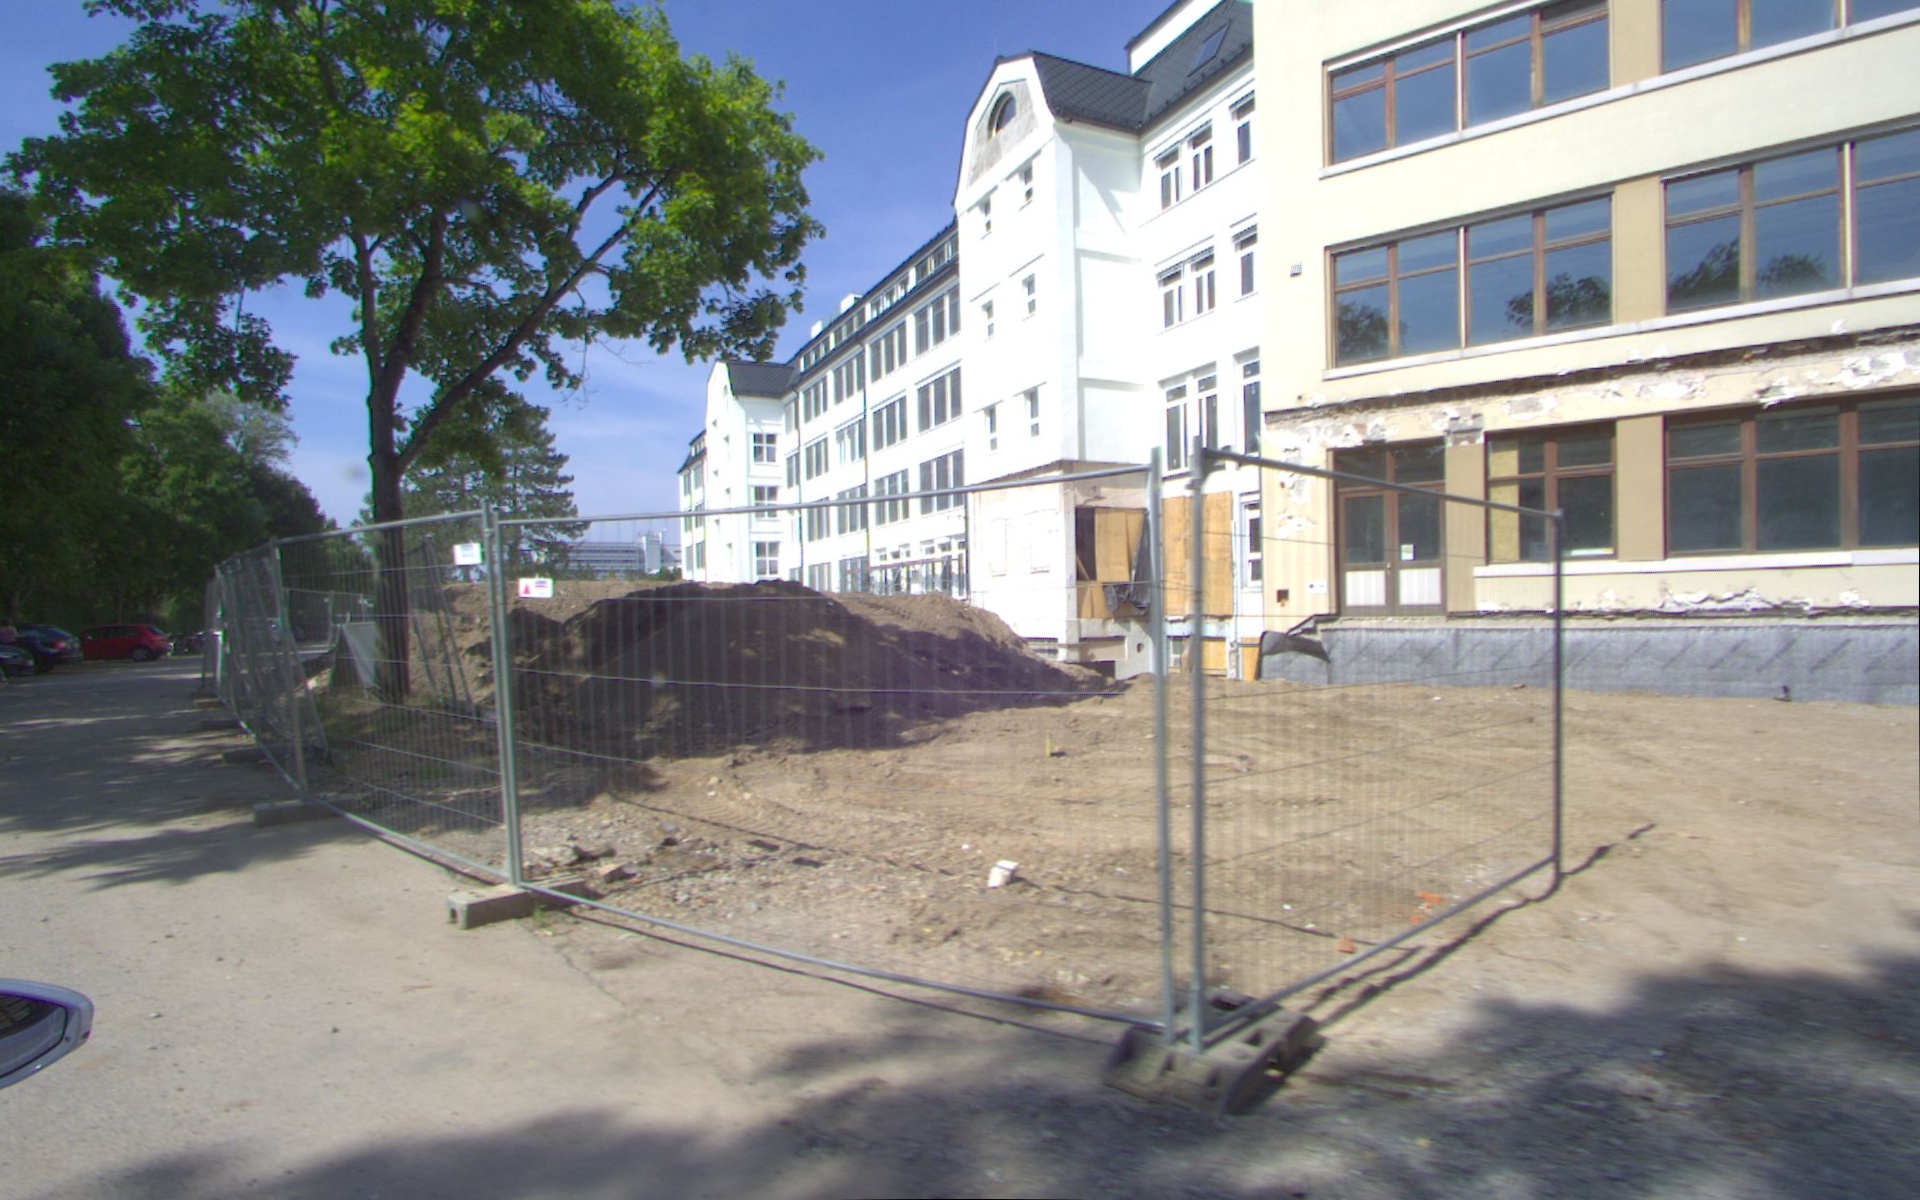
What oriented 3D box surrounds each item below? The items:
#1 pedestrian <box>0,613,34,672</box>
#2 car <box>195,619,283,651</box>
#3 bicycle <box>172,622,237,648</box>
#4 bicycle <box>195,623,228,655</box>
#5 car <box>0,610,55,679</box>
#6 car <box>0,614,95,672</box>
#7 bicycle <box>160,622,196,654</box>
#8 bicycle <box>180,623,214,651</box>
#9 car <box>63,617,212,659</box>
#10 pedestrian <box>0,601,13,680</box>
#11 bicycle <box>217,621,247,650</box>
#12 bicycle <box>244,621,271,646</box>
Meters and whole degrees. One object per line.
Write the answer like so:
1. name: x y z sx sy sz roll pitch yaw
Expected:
1. pedestrian: -26.416 1.176 27.792 0.916 1.616 0.780 -1 1 -35
2. car: -42.699 2.046 59.395 3.936 1.795 1.761 0 0 -25
3. bicycle: -39.693 1.848 52.664 2.648 1.301 0.814 0 0 -33
4. bicycle: -32.615 1.684 43.667 0.705 1.301 2.672 -1 0 -27
5. car: -24.623 1.070 23.630 4.613 1.606 1.986 0 0 -36
6. car: -27.843 1.220 28.552 4.613 1.606 1.986 0 0 -36
7. bicycle: -34.303 1.646 43.964 0.705 1.301 2.779 -1 0 -27
8. bicycle: -36.664 1.758 48.158 0.806 1.301 2.672 -1 0 -27
9. car: -32.388 1.457 39.610 4.237 1.544 1.883 0 0 -29
10. pedestrian: -22.655 0.938 23.139 1.004 1.805 0.814 -1 0 -36
11. bicycle: -34.668 1.663 47.723 0.705 1.301 2.626 -1 0 -27
12. bicycle: -38.280 1.811 54.610 0.806 1.301 2.735 -1 0 -27
